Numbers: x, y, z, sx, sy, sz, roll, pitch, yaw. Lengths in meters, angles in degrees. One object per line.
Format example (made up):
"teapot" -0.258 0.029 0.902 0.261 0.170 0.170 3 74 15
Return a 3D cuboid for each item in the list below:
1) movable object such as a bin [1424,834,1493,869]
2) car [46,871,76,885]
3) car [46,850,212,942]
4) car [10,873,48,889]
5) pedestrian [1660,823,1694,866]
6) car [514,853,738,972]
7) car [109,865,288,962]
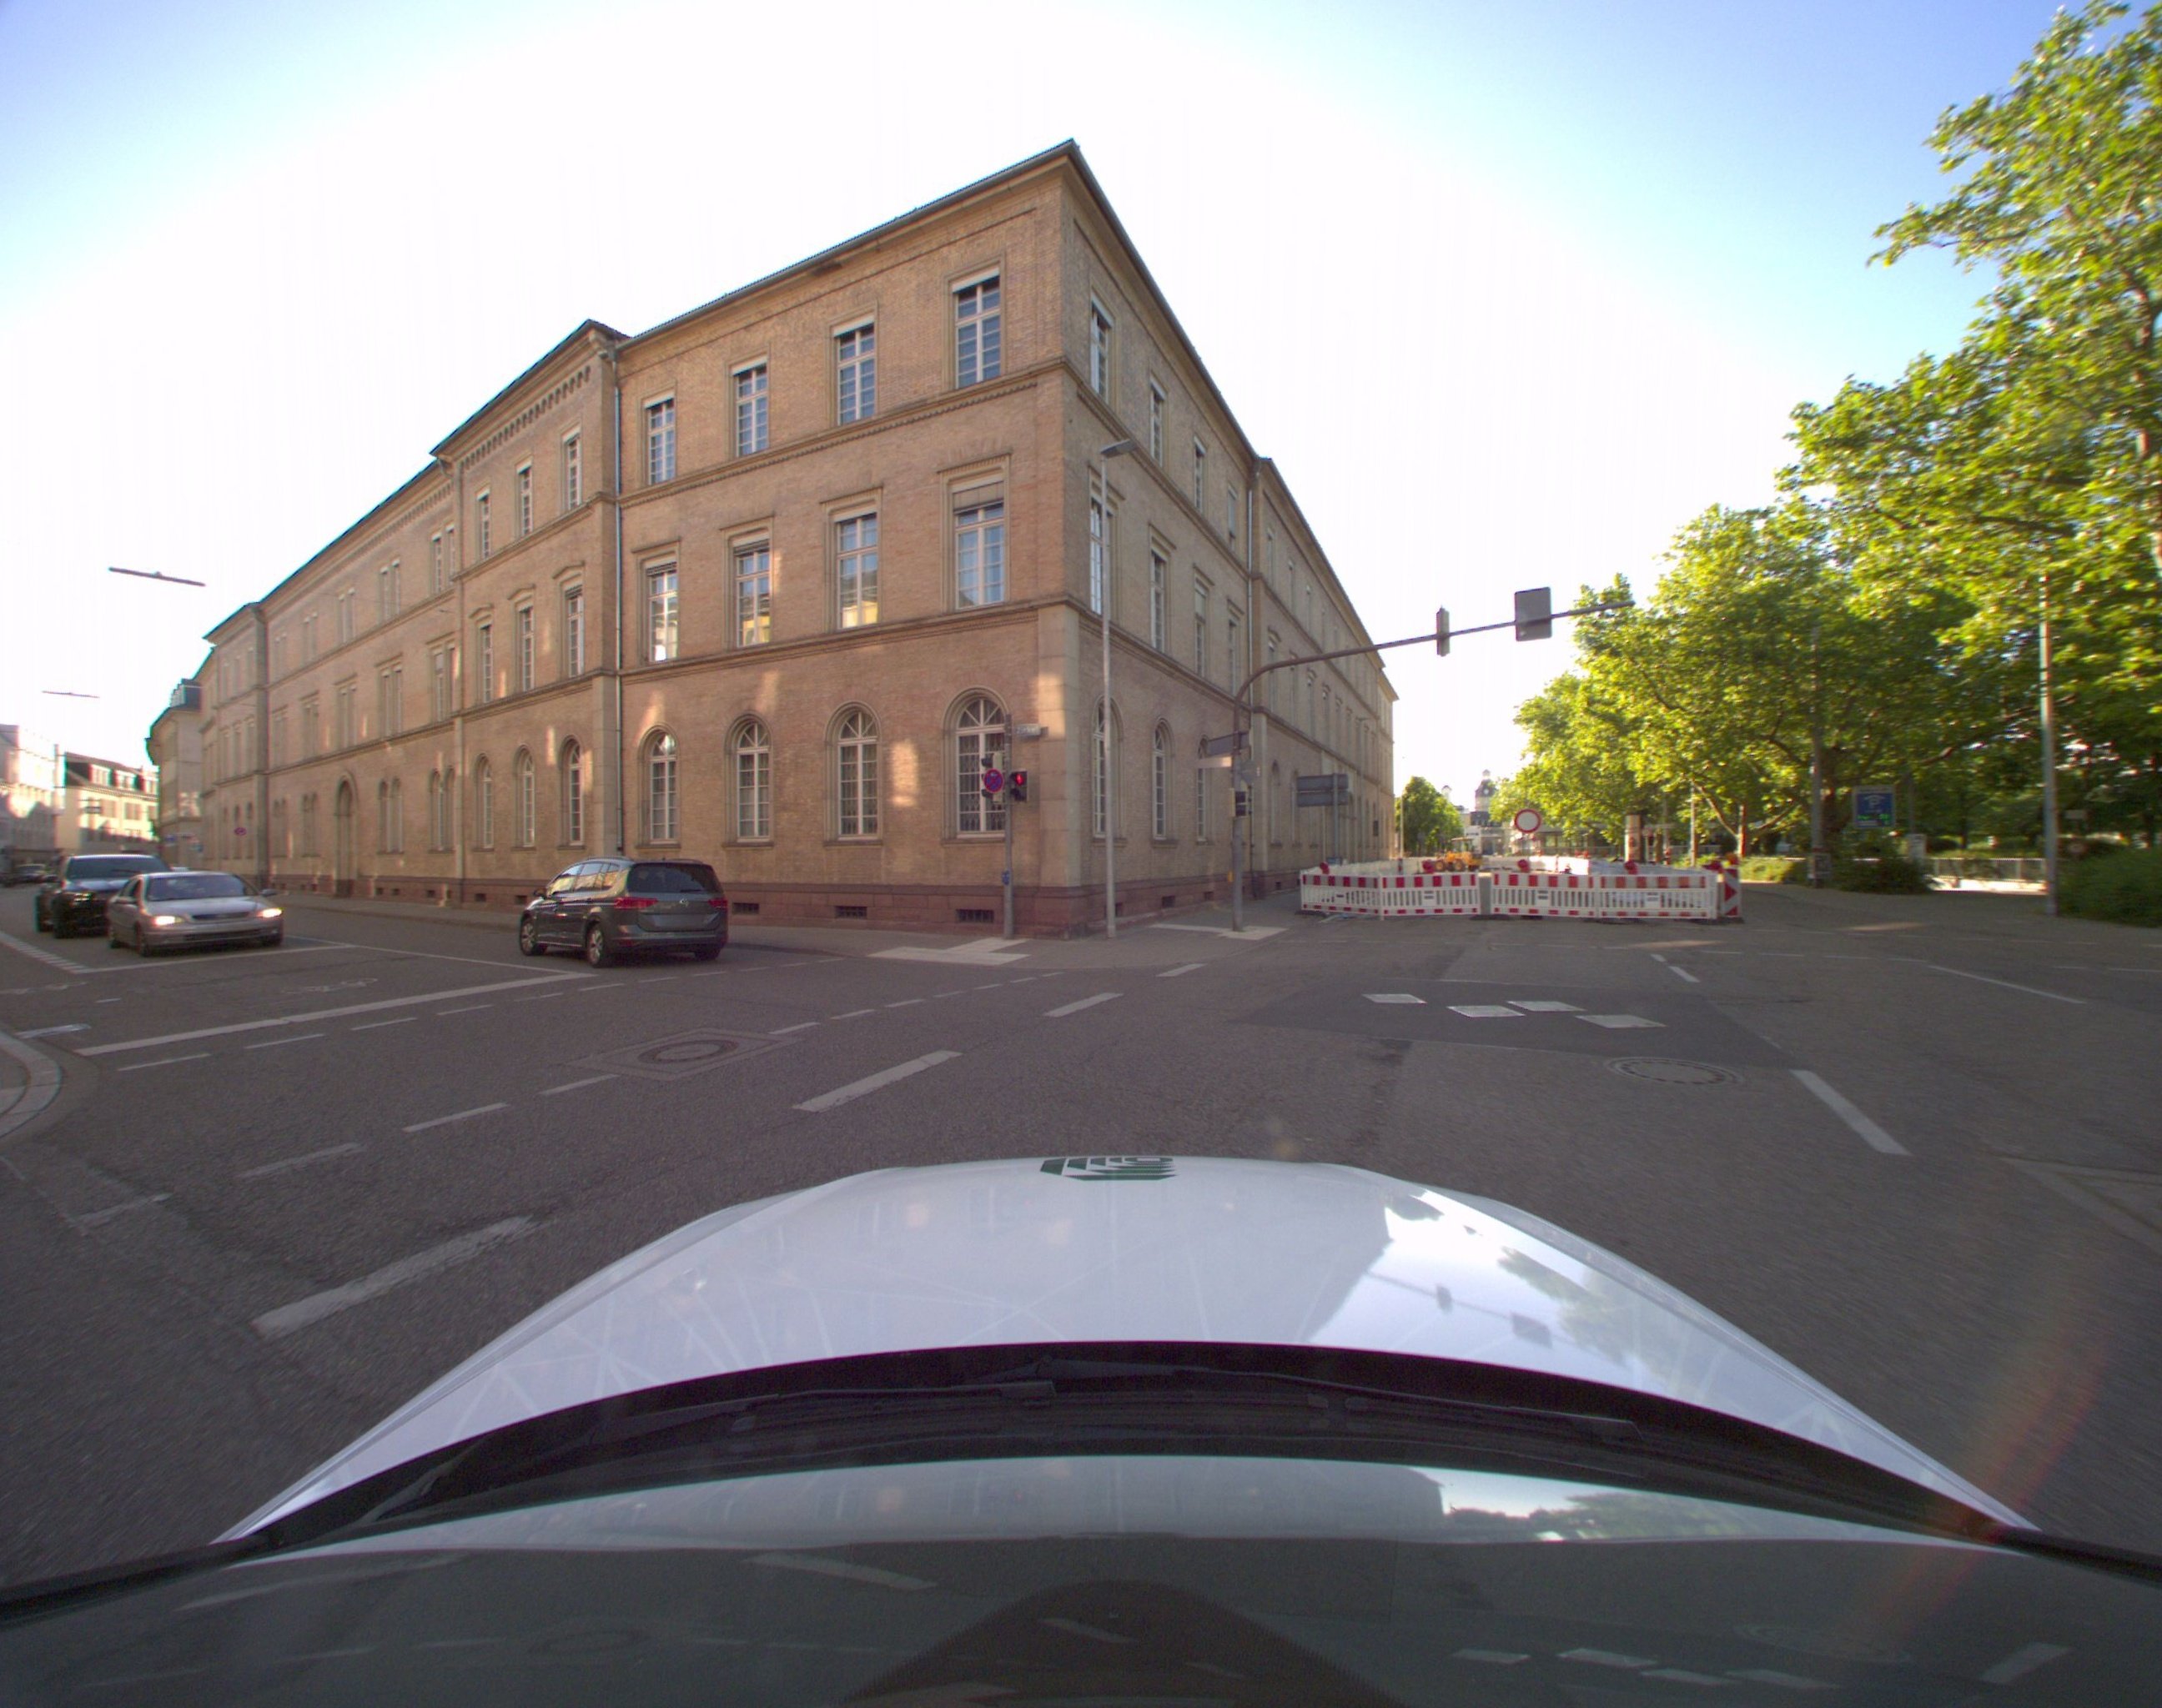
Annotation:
"movable object such as a bin" 31.081 -0.172 67.204 2.475 2.776 4.808 -1 0 -21
"car" -114.210 2.716 91.219 3.785 1.468 1.883 -1 0 42
"car" -22.281 0.899 19.009 5.028 1.834 1.918 -1 2 34
"car" -98.438 2.499 76.253 3.785 1.468 1.883 -1 0 42
"pedestrian" 36.781 -0.575 50.292 1.154 2.667 1.408 0 -1 -38
"car" -7.324 0.815 12.980 3.948 1.607 1.779 -1 -1 39
"car" -16.357 0.988 15.044 4.083 1.486 1.758 -1 2 37
